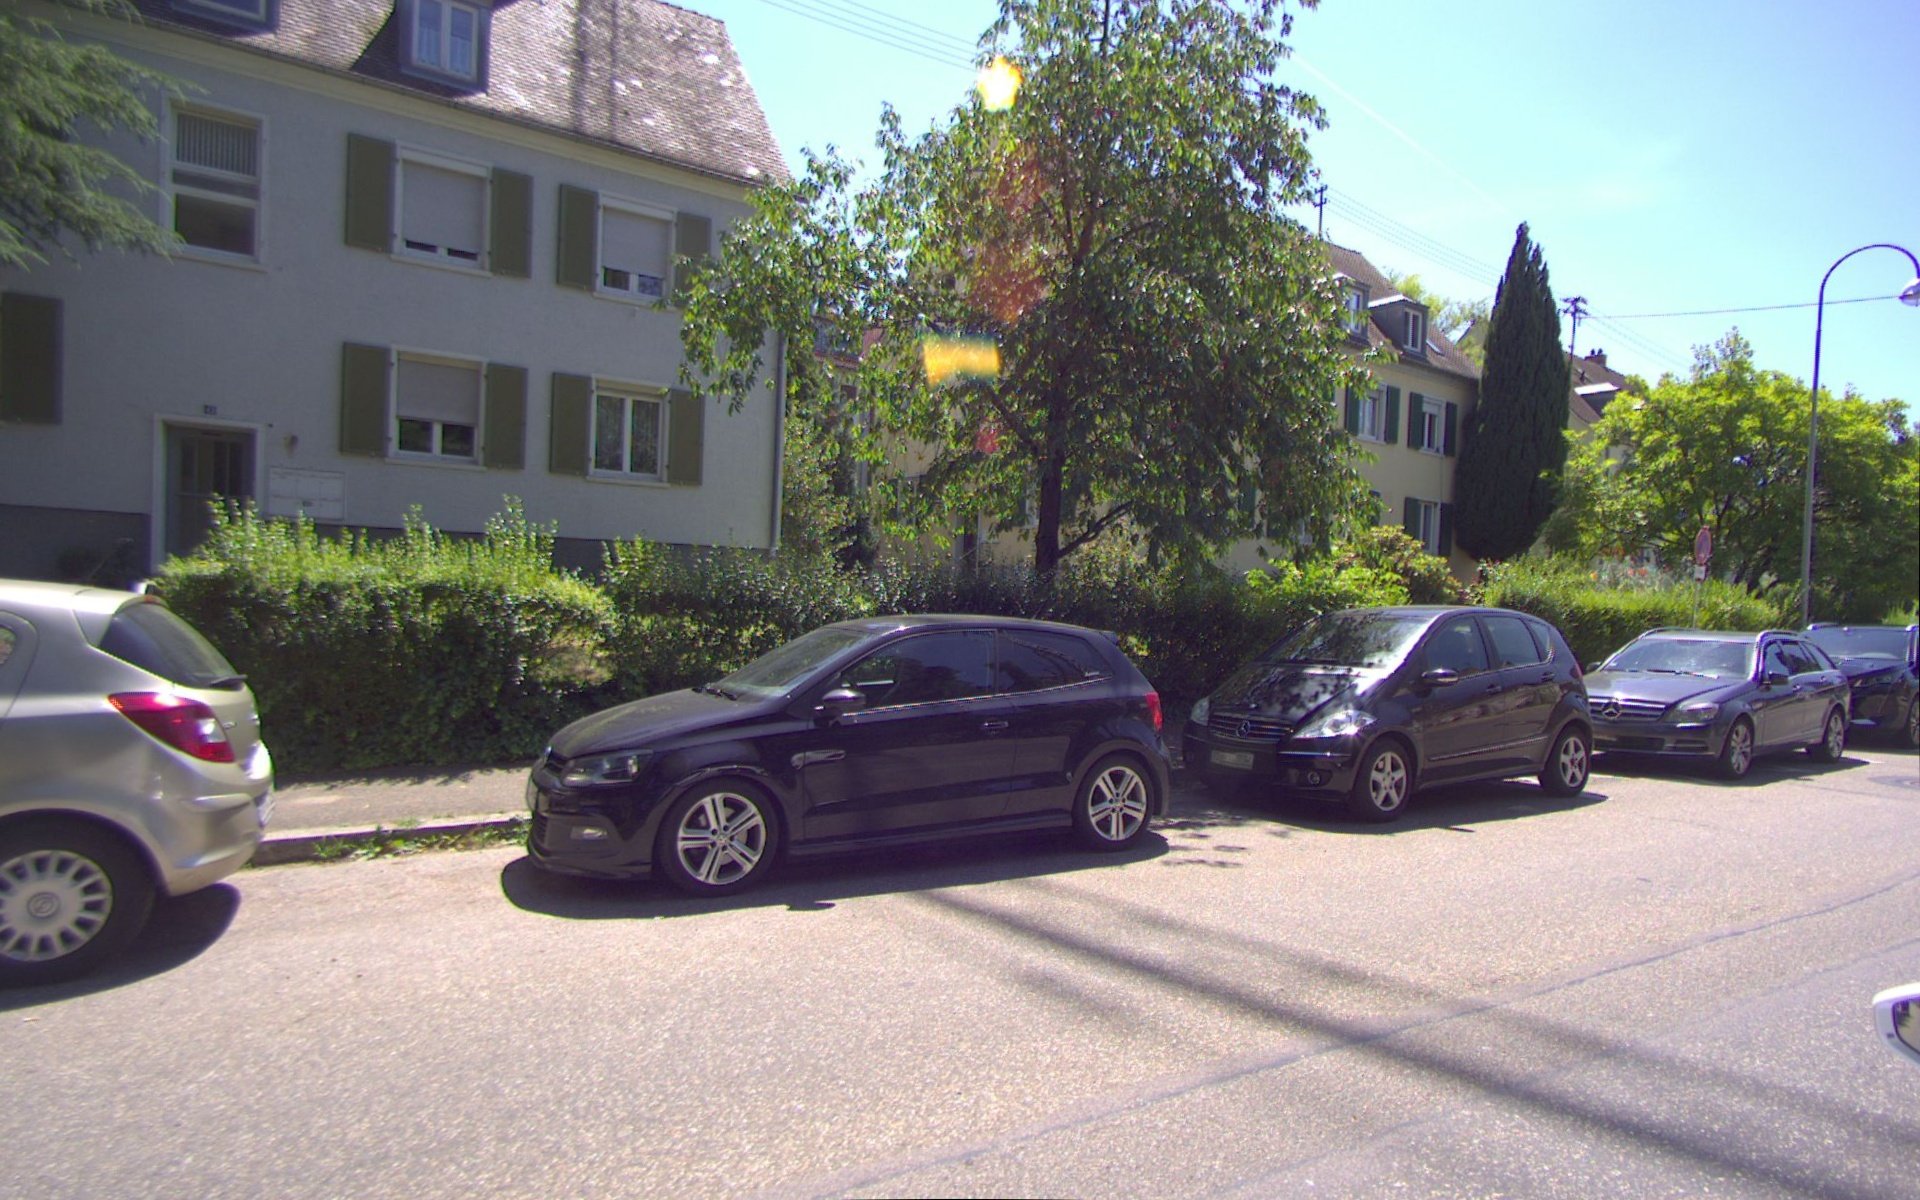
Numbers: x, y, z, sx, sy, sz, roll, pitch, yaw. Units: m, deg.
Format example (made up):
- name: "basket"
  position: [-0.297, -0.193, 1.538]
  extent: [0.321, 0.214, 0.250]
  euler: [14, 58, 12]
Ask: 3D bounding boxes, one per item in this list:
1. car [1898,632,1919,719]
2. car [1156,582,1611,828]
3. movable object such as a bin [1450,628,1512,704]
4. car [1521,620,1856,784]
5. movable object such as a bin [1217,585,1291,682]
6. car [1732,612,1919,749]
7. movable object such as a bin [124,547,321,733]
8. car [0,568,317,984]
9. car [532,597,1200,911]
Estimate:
- name: "car"
  position: [18.176, 1.342, 17.580]
  extent: [4.203, 1.460, 1.671]
  euler: [2, -1, -34]
- name: "car"
  position: [3.639, 0.772, 8.491]
  extent: [3.747, 1.661, 1.672]
  euler: [2, -1, -31]
- name: "movable object such as a bin"
  position: [8.250, 1.039, 15.904]
  extent: [0.588, 1.136, 0.616]
  euler: [2, 1, -29]
- name: "car"
  position: [8.237, 1.034, 11.241]
  extent: [4.286, 1.495, 1.671]
  euler: [2, -1, -34]
- name: "movable object such as a bin"
  position: [4.604, 0.517, 15.716]
  extent: [0.908, 1.472, 0.653]
  euler: [2, 0, -33]
- name: "car"
  position: [12.742, 1.067, 14.172]
  extent: [4.286, 1.658, 1.671]
  euler: [2, -1, -34]
- name: "movable object such as a bin"
  position: [-5.406, 0.266, 7.347]
  extent: [0.967, 1.215, 1.280]
  euler: [2, -1, -45]
- name: "car"
  position: [-4.715, 0.585, 3.768]
  extent: [3.740, 1.461, 1.788]
  euler: [2, -1, -30]
- name: "car"
  position: [-0.523, 0.762, 6.193]
  extent: [3.743, 1.419, 1.674]
  euler: [2, -1, -29]
